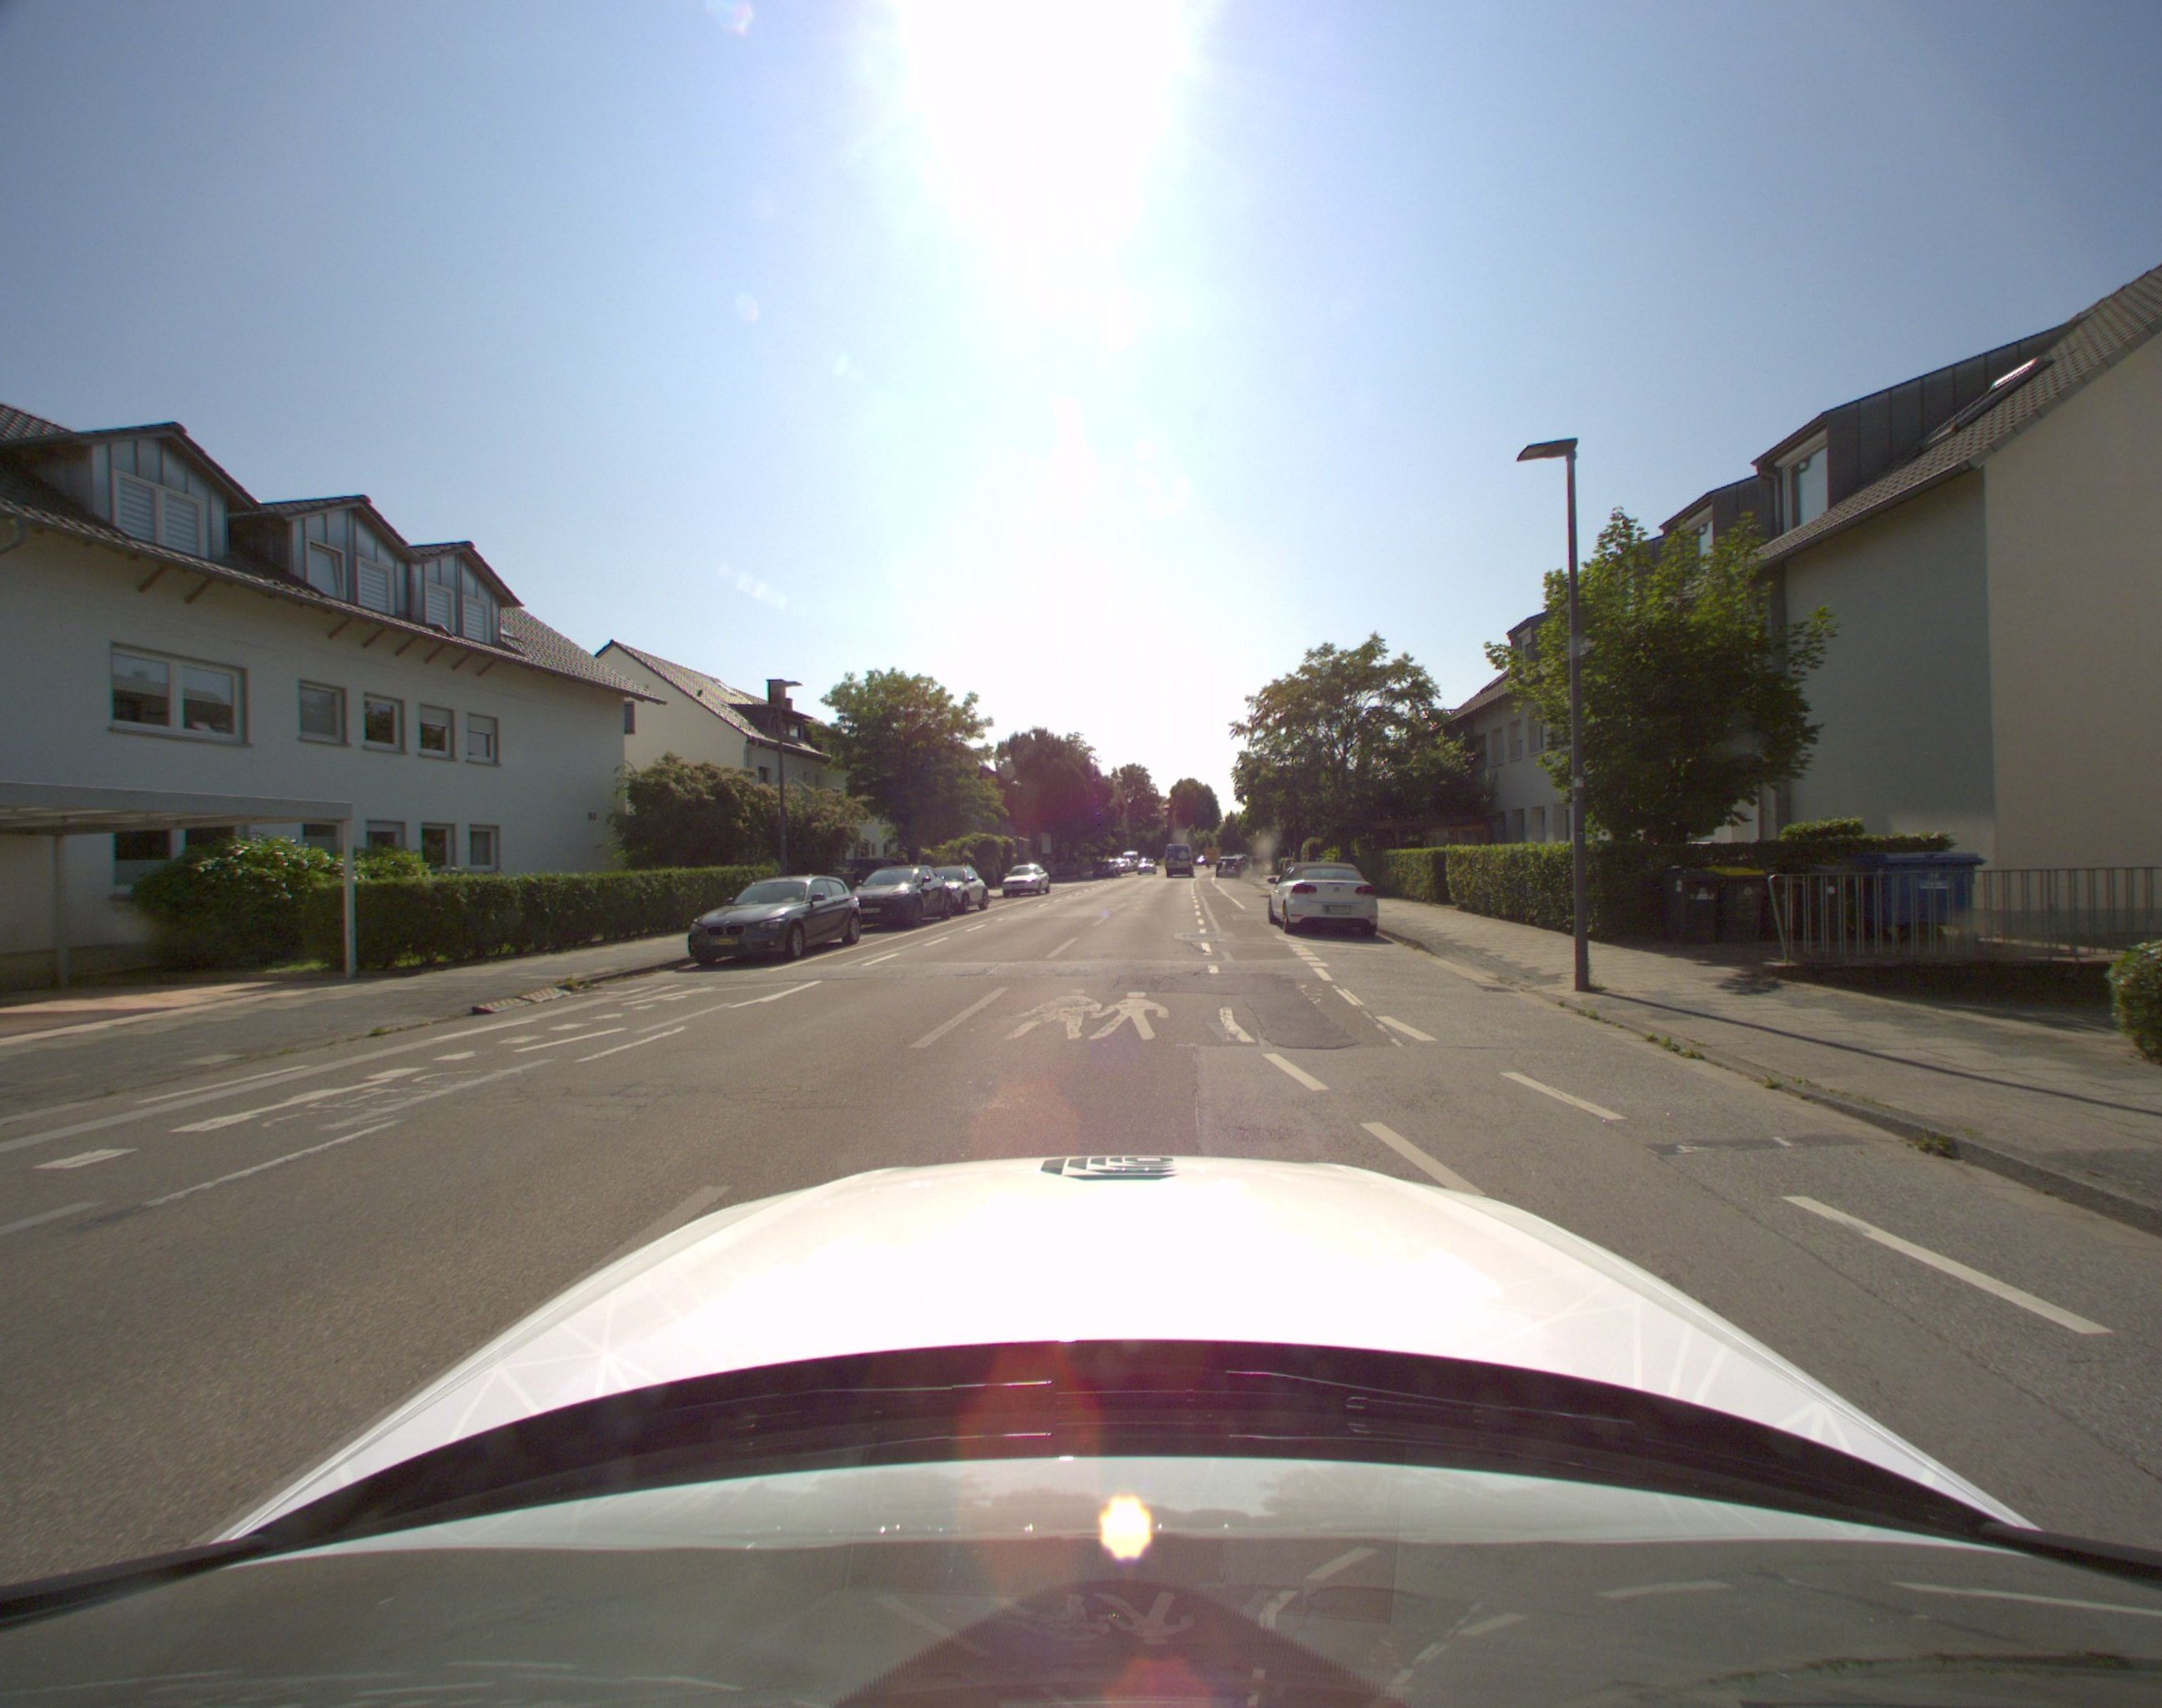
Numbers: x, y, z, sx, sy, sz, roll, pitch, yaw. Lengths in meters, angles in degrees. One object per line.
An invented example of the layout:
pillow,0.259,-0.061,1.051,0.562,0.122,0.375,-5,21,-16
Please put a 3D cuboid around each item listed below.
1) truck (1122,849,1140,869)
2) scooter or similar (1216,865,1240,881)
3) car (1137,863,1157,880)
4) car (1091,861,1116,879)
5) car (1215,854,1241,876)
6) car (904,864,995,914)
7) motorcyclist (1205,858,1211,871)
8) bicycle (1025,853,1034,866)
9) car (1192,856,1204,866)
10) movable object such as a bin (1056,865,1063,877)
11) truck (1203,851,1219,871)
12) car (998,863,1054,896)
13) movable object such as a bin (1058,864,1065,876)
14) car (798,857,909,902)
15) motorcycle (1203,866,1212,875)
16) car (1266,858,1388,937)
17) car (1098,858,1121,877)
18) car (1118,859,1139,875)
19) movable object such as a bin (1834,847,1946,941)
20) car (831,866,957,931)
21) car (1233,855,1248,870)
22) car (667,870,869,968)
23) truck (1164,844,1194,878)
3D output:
truck,6.615,0.619,107.266,2.071,2.537,5.474,-1,-1,5
scooter or similar,11.167,1.442,61.971,0.723,1.154,1.777,3,-1,-38
car,6.468,1.696,79.526,1.723,1.541,4.007,-3,-1,6
car,2.022,1.377,72.404,1.771,1.460,4.093,-3,-1,7
car,11.706,0.867,64.646,1.772,1.638,4.486,0,0,13
car,-4.149,1.089,26.365,1.775,1.440,4.009,-1,-1,8
motorcyclist,16.032,1.322,102.825,0.668,1.519,0.654,-2,-1,9
bicycle,-4.971,0.550,79.182,0.533,1.181,1.450,-2,1,10
car,20.192,1.226,140.966,1.982,1.657,4.615,-1,-1,8
movable object such as a bin,-1.952,1.559,74.545,0.540,1.111,0.520,-2,-1,13
truck,20.032,1.139,125.553,2.202,2.946,5.698,-1,-1,8
car,-2.527,1.156,38.114,1.775,1.440,4.009,-2,-1,8
movable object such as a bin,-1.817,1.489,75.165,0.540,1.111,0.587,-2,-1,13
car,-9.562,1.046,34.388,3.965,1.759,2.004,-1,-1,8
motorcycle,16.007,2.068,103.138,1.050,1.122,2.998,-1,-1,8
car,5.014,0.804,17.105,1.731,1.402,4.081,2,0,7
car,2.743,1.284,78.201,1.899,1.677,4.265,-3,-1,5
car,5.222,1.428,88.833,1.824,1.595,3.784,-1,-1,9
movable object such as a bin,11.199,0.536,11.303,0.743,1.243,0.794,-2,-1,3
car,-4.752,1.088,21.324,1.775,1.440,4.120,-3,-1,9
car,19.197,1.033,98.045,1.690,1.677,3.786,-1,-1,11
car,-5.543,1.078,15.076,1.777,1.440,4.160,-3,-1,5
truck,7.994,0.590,65.872,2.260,2.571,4.401,-1,-1,8
